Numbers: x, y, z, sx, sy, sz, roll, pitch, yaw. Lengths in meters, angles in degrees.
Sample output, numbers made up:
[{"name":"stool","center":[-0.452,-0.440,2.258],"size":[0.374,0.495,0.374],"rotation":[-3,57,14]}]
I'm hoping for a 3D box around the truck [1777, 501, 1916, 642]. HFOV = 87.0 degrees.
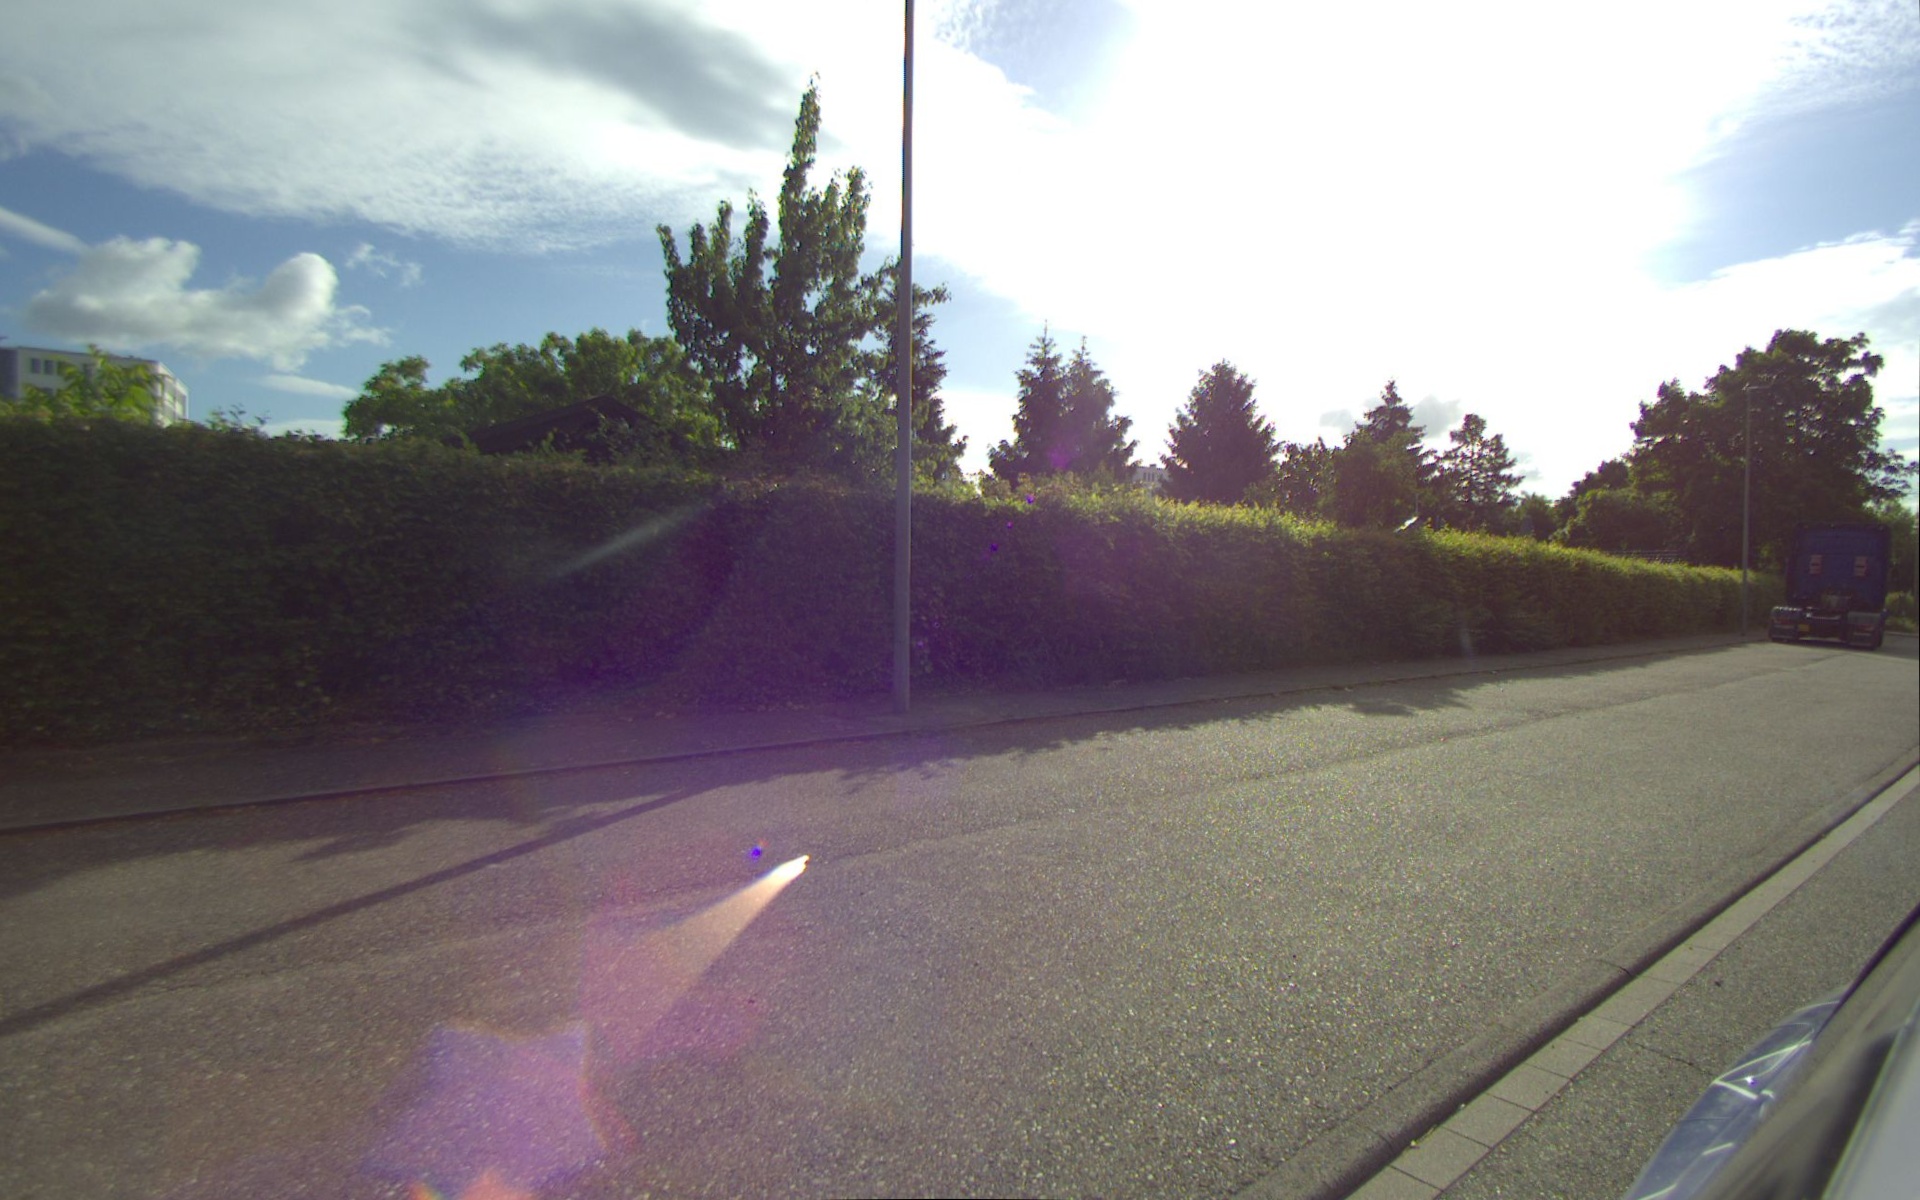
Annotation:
[{"name":"truck","center":[28.543,-0.871,32.490],"size":[6.181,4.005,2.599],"rotation":[1,5,-45]}]
